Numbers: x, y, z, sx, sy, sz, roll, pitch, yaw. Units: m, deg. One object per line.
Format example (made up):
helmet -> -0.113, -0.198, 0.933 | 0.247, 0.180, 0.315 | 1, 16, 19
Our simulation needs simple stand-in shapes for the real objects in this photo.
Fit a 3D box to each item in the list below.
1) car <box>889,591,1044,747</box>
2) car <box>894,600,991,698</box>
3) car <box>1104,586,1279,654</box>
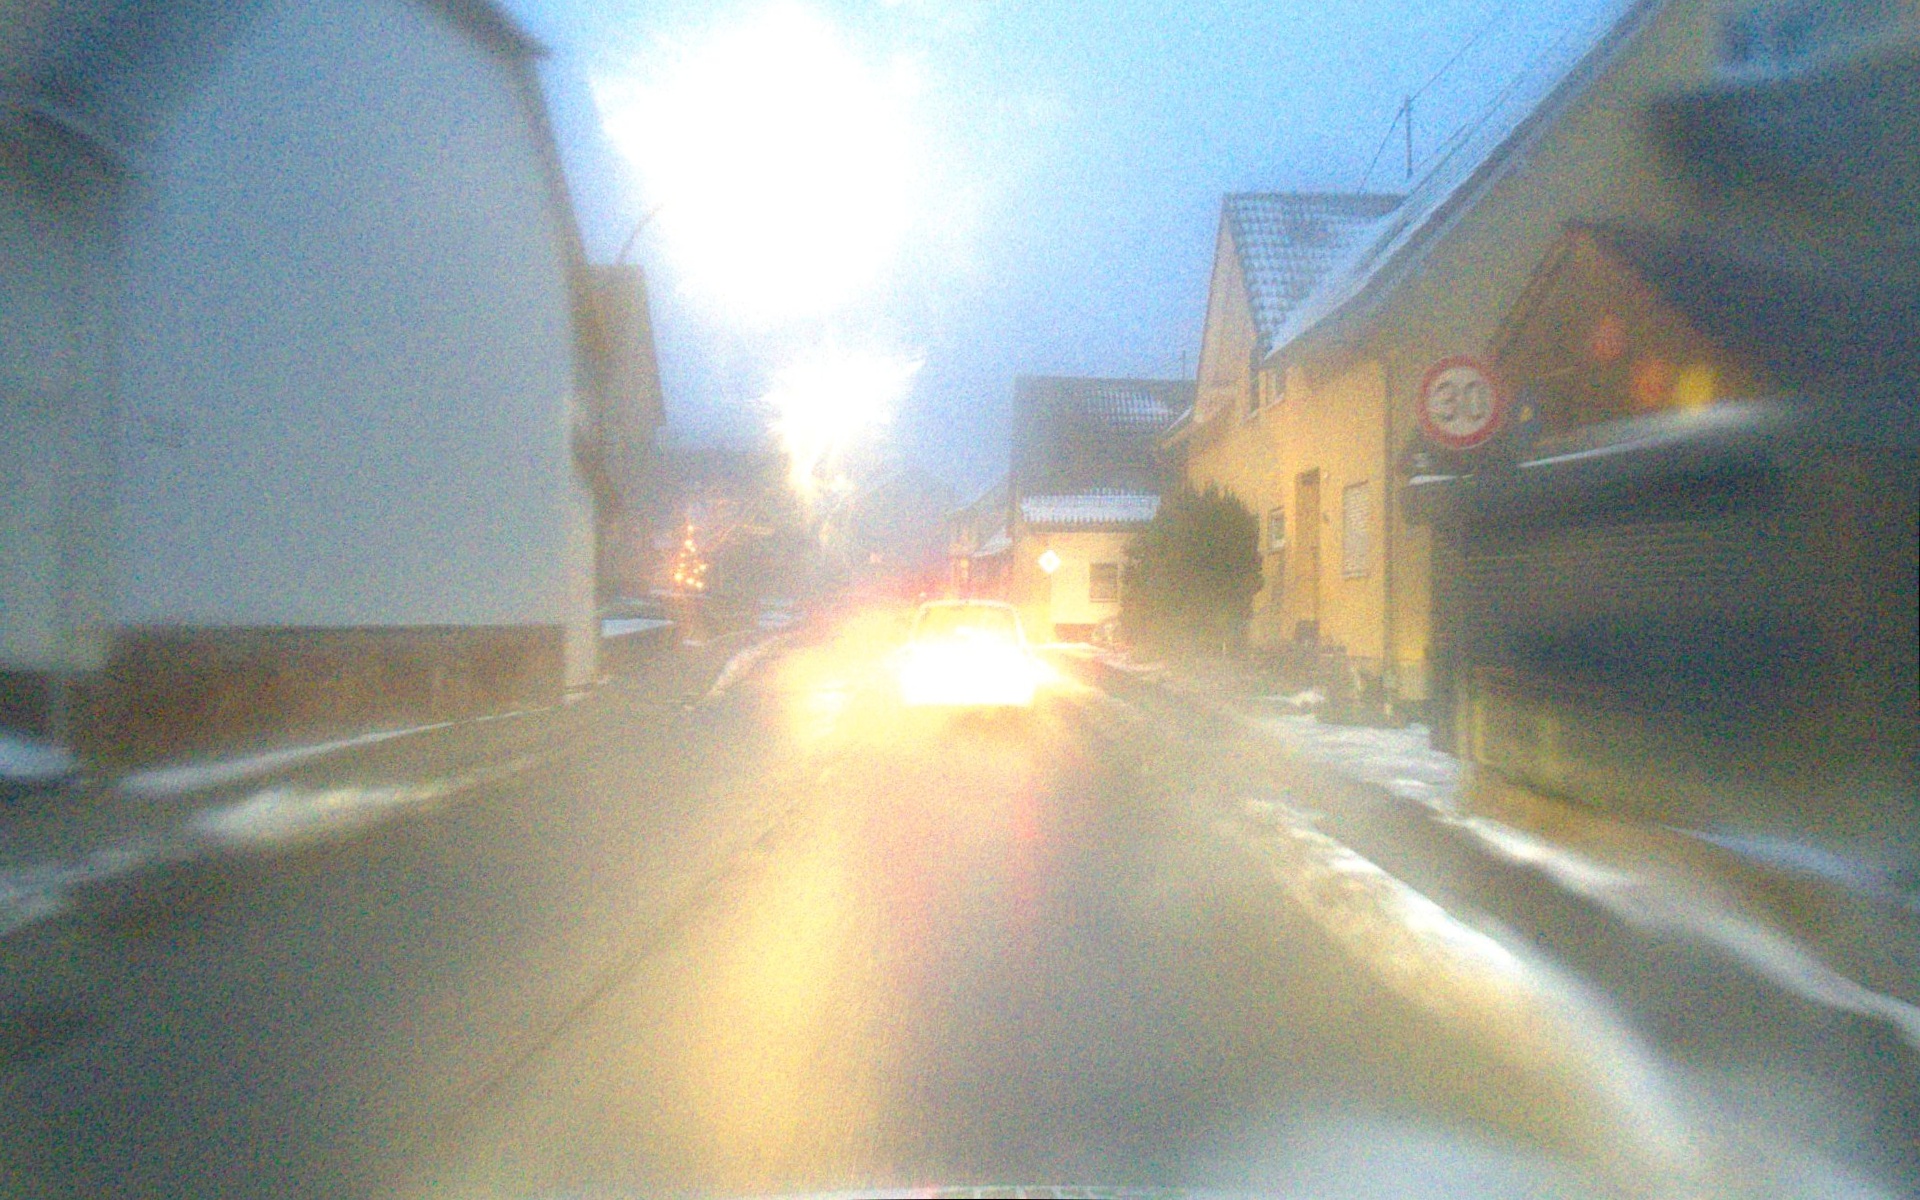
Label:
car -> 0.110, 0.767, 19.599 | 1.611, 1.624, 3.700 | 2, -1, 1
car -> -0.331, 0.856, 30.041 | 1.612, 1.624, 3.698 | 2, -1, -1
car -> 5.294, 0.434, 38.074 | 3.670, 1.523, 1.819 | 0, 0, -7
